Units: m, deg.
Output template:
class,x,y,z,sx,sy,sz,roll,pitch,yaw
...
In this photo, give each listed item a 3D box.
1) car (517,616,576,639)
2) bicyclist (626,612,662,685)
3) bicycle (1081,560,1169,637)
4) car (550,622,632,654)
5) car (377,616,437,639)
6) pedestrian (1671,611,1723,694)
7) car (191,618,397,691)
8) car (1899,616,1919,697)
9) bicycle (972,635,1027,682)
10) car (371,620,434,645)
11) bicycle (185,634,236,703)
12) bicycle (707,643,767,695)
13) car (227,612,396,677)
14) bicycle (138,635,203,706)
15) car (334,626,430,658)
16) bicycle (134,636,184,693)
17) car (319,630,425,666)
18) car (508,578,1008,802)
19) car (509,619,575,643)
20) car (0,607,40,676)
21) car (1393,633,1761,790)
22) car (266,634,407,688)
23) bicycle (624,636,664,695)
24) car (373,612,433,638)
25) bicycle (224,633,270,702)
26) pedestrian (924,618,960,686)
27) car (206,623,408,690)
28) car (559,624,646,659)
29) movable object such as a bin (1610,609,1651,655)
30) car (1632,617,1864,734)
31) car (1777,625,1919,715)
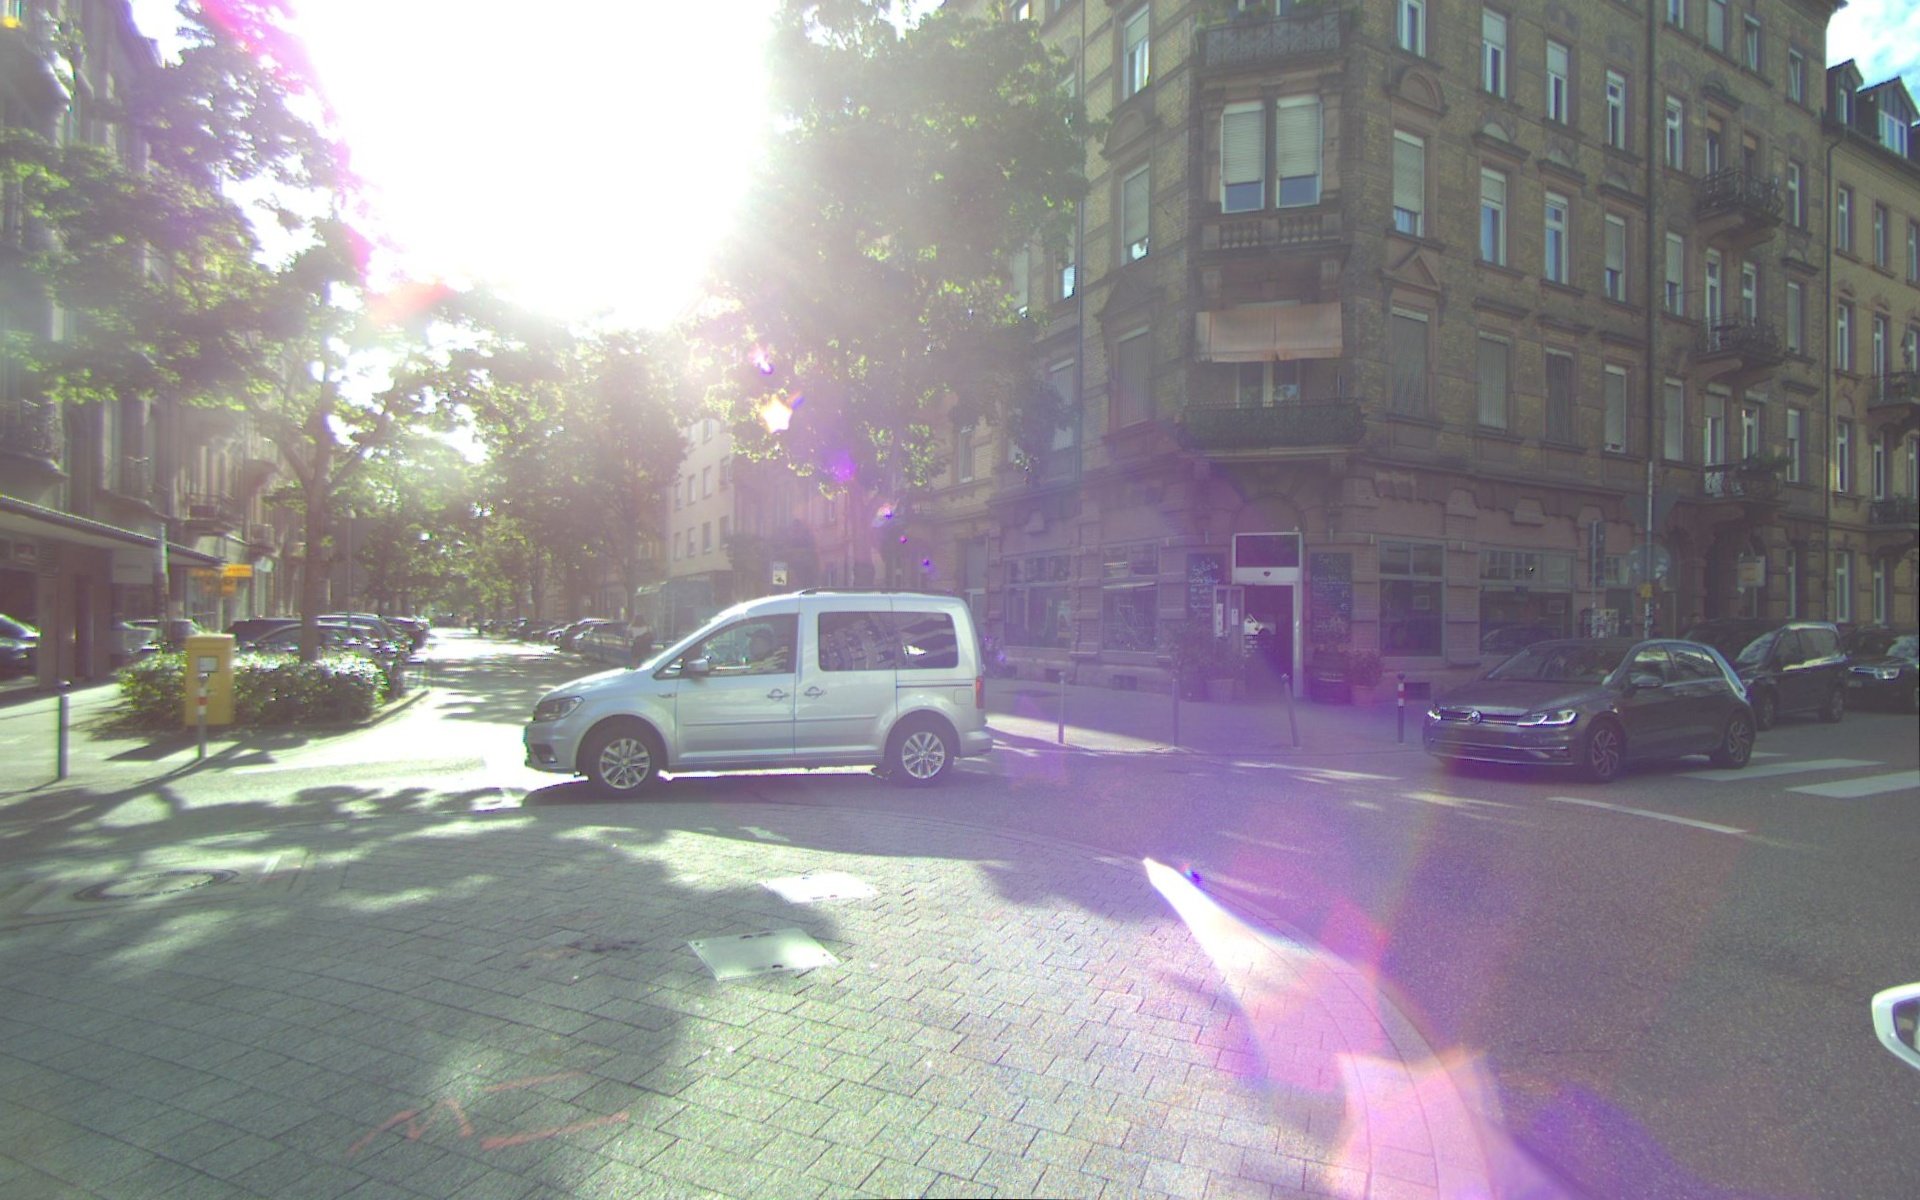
class,x,y,z,sx,sy,sz,roll,pitch,yaw
car,-31.154,2.059,75.624,3.951,1.591,1.821,1,0,-29
bicyclist,-7.224,1.095,22.959,0.683,1.608,1.121,1,0,-23
bicycle,3.459,-0.012,21.241,0.551,1.541,2.145,1,-1,-33
car,-19.452,2.006,53.123,3.937,1.623,1.872,1,0,-18
car,-39.155,1.940,71.151,3.672,1.492,1.791,1,0,-30
pedestrian,17.162,1.200,23.401,0.849,1.865,0.672,0,2,-35
car,-14.833,1.188,22.609,3.649,1.496,1.567,1,0,-26
car,24.521,1.345,23.976,4.384,1.896,1.911,1,0,-30
bicycle,0.975,1.441,25.125,0.522,1.081,1.770,2,-1,-28
car,-34.188,1.989,61.678,3.297,1.495,1.397,1,-2,-28
bicycle,-13.503,1.194,18.137,0.473,1.149,2.412,1,-2,-31
bicycle,-5.073,1.541,22.781,0.585,1.043,2.122,-1,0,-34
car,-17.234,1.158,26.902,3.652,1.618,1.565,1,0,-28
bicycle,-13.985,1.209,17.833,0.573,1.149,2.412,1,-2,-31
car,-23.398,1.702,40.800,3.297,1.270,1.367,1,-2,-28
bicycle,-16.327,1.293,20.507,0.598,1.042,1.765,1,0,-32
car,-21.683,1.753,37.187,3.297,1.270,1.367,1,-2,-28
car,-1.851,0.819,9.648,4.260,1.814,1.829,1,-3,-17
car,-28.638,2.100,68.833,3.951,1.591,1.821,1,0,-29
car,-23.737,0.947,22.862,3.965,1.572,1.747,1,0,-39
car,6.850,1.139,11.101,3.952,1.456,1.784,2,-3,-30
car,-17.686,1.702,28.631,3.297,1.462,1.367,1,-2,-28
bicycle,-7.273,1.477,23.072,0.683,1.215,1.967,1,0,-23
car,-36.143,1.625,65.299,3.316,1.614,1.585,1,0,-27
bicycle,-13.051,1.191,18.416,0.473,1.149,2.411,1,-1,-31
pedestrian,-0.452,1.256,24.769,0.606,1.599,0.805,-2,2,-23
car,-15.906,1.348,24.717,4.023,1.496,1.565,1,0,-28
car,-17.586,2.033,49.602,3.937,1.623,1.872,1,0,-18
movable object such as a bin,10.735,0.503,16.077,0.471,0.724,0.380,1,0,-33
car,14.015,1.253,17.818,4.354,1.797,1.751,1,1,-30
car,19.141,1.384,20.933,4.096,1.660,1.984,1,-1,-30
